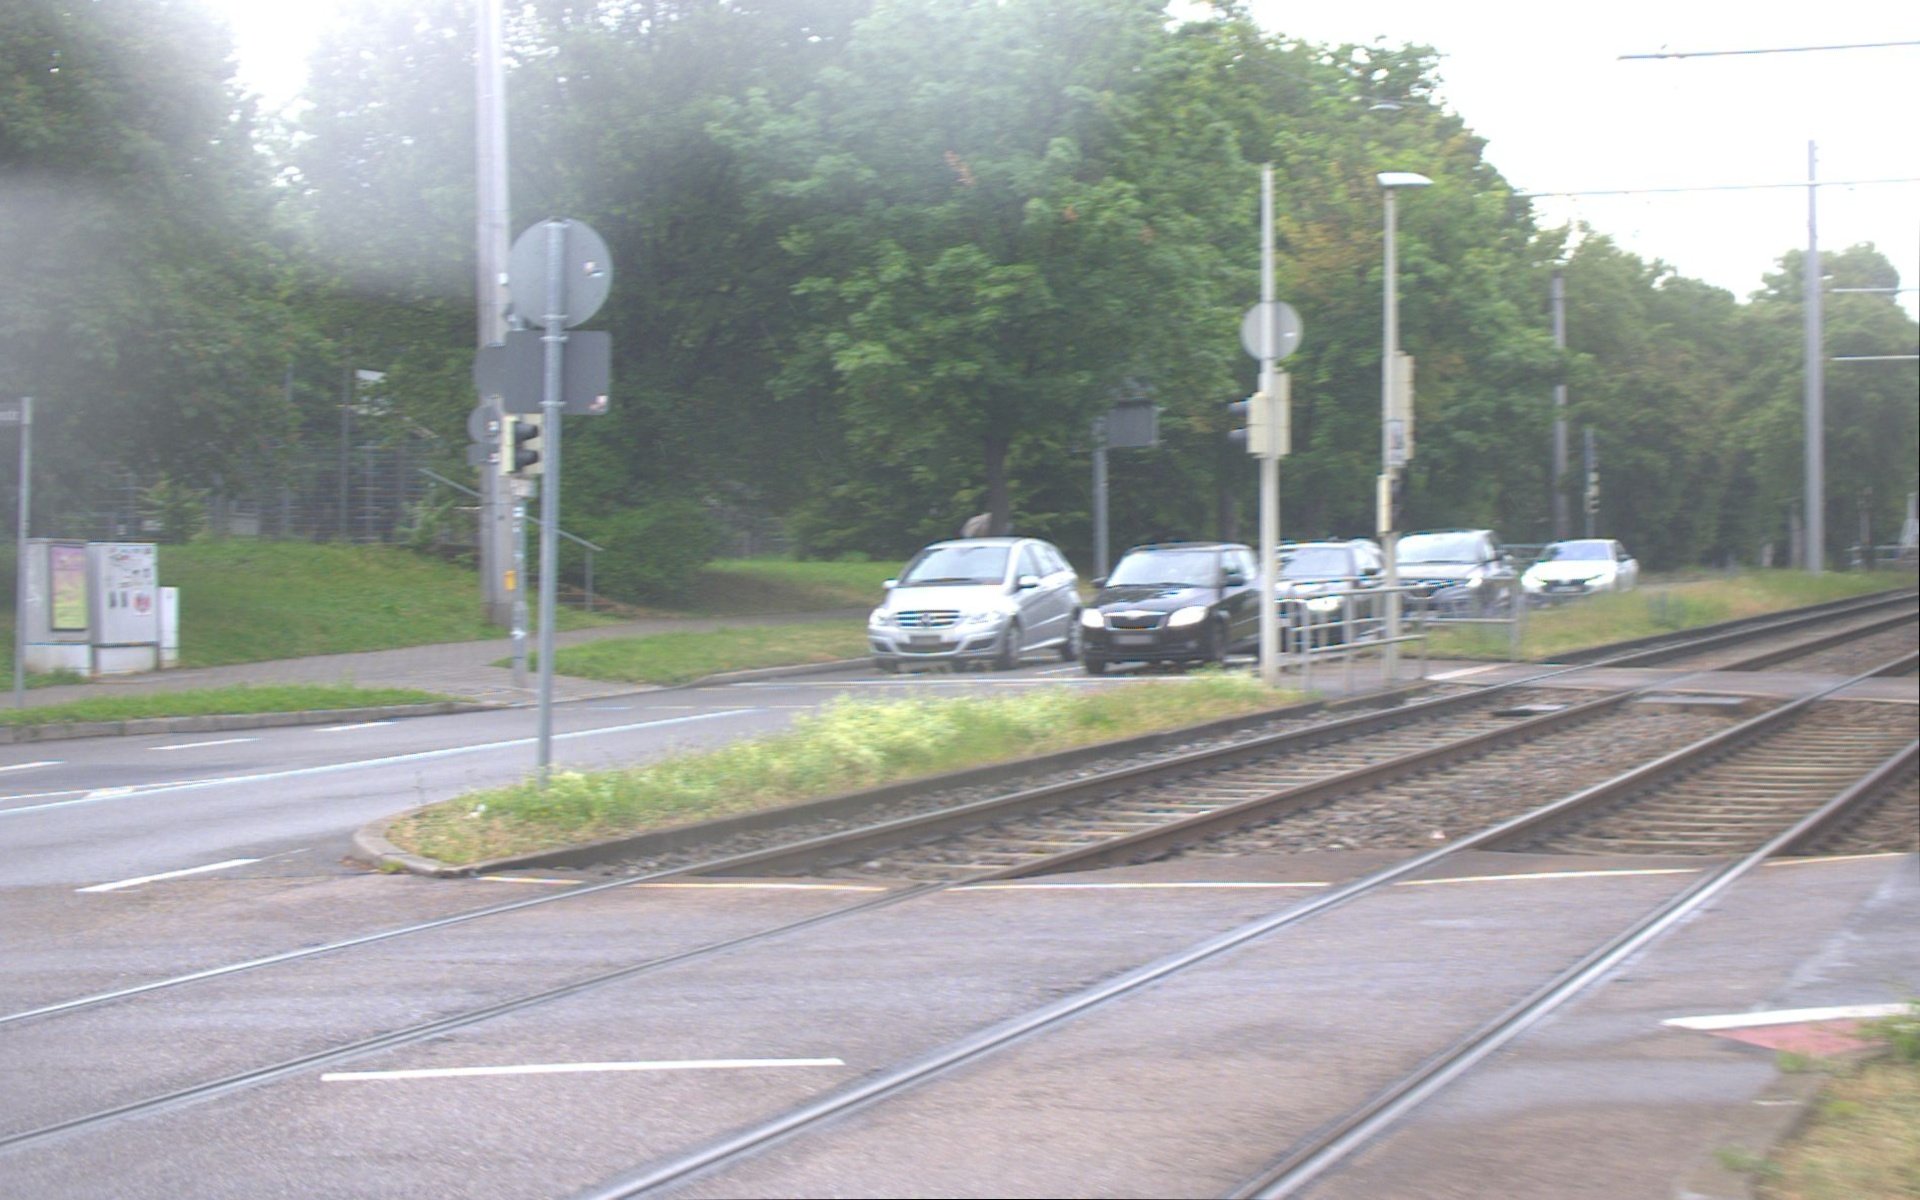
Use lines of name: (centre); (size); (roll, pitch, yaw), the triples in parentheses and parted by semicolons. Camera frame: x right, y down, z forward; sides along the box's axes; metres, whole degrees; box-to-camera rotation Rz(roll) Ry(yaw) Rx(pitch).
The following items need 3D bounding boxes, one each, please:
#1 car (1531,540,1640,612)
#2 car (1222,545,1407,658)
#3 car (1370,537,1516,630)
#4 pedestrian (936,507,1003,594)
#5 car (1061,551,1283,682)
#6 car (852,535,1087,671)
car: (12.860, -0.509, 70.586); (1.602, 1.397, 3.788); (-1, 1, 19)
car: (4.842, -0.006, 46.562); (1.602, 1.397, 3.788); (-2, 1, 19)
car: (7.867, -0.290, 55.761); (1.603, 1.397, 3.788); (2, 2, 19)
pedestrian: (0.178, -0.918, 63.688); (1.014, 1.595, 1.039); (0, 1, 15)
car: (2.553, 0.154, 40.602); (1.603, 1.397, 3.788); (2, 2, 19)
car: (0.172, 0.002, 43.200); (1.721, 1.548, 3.859); (-2, 1, 19)
